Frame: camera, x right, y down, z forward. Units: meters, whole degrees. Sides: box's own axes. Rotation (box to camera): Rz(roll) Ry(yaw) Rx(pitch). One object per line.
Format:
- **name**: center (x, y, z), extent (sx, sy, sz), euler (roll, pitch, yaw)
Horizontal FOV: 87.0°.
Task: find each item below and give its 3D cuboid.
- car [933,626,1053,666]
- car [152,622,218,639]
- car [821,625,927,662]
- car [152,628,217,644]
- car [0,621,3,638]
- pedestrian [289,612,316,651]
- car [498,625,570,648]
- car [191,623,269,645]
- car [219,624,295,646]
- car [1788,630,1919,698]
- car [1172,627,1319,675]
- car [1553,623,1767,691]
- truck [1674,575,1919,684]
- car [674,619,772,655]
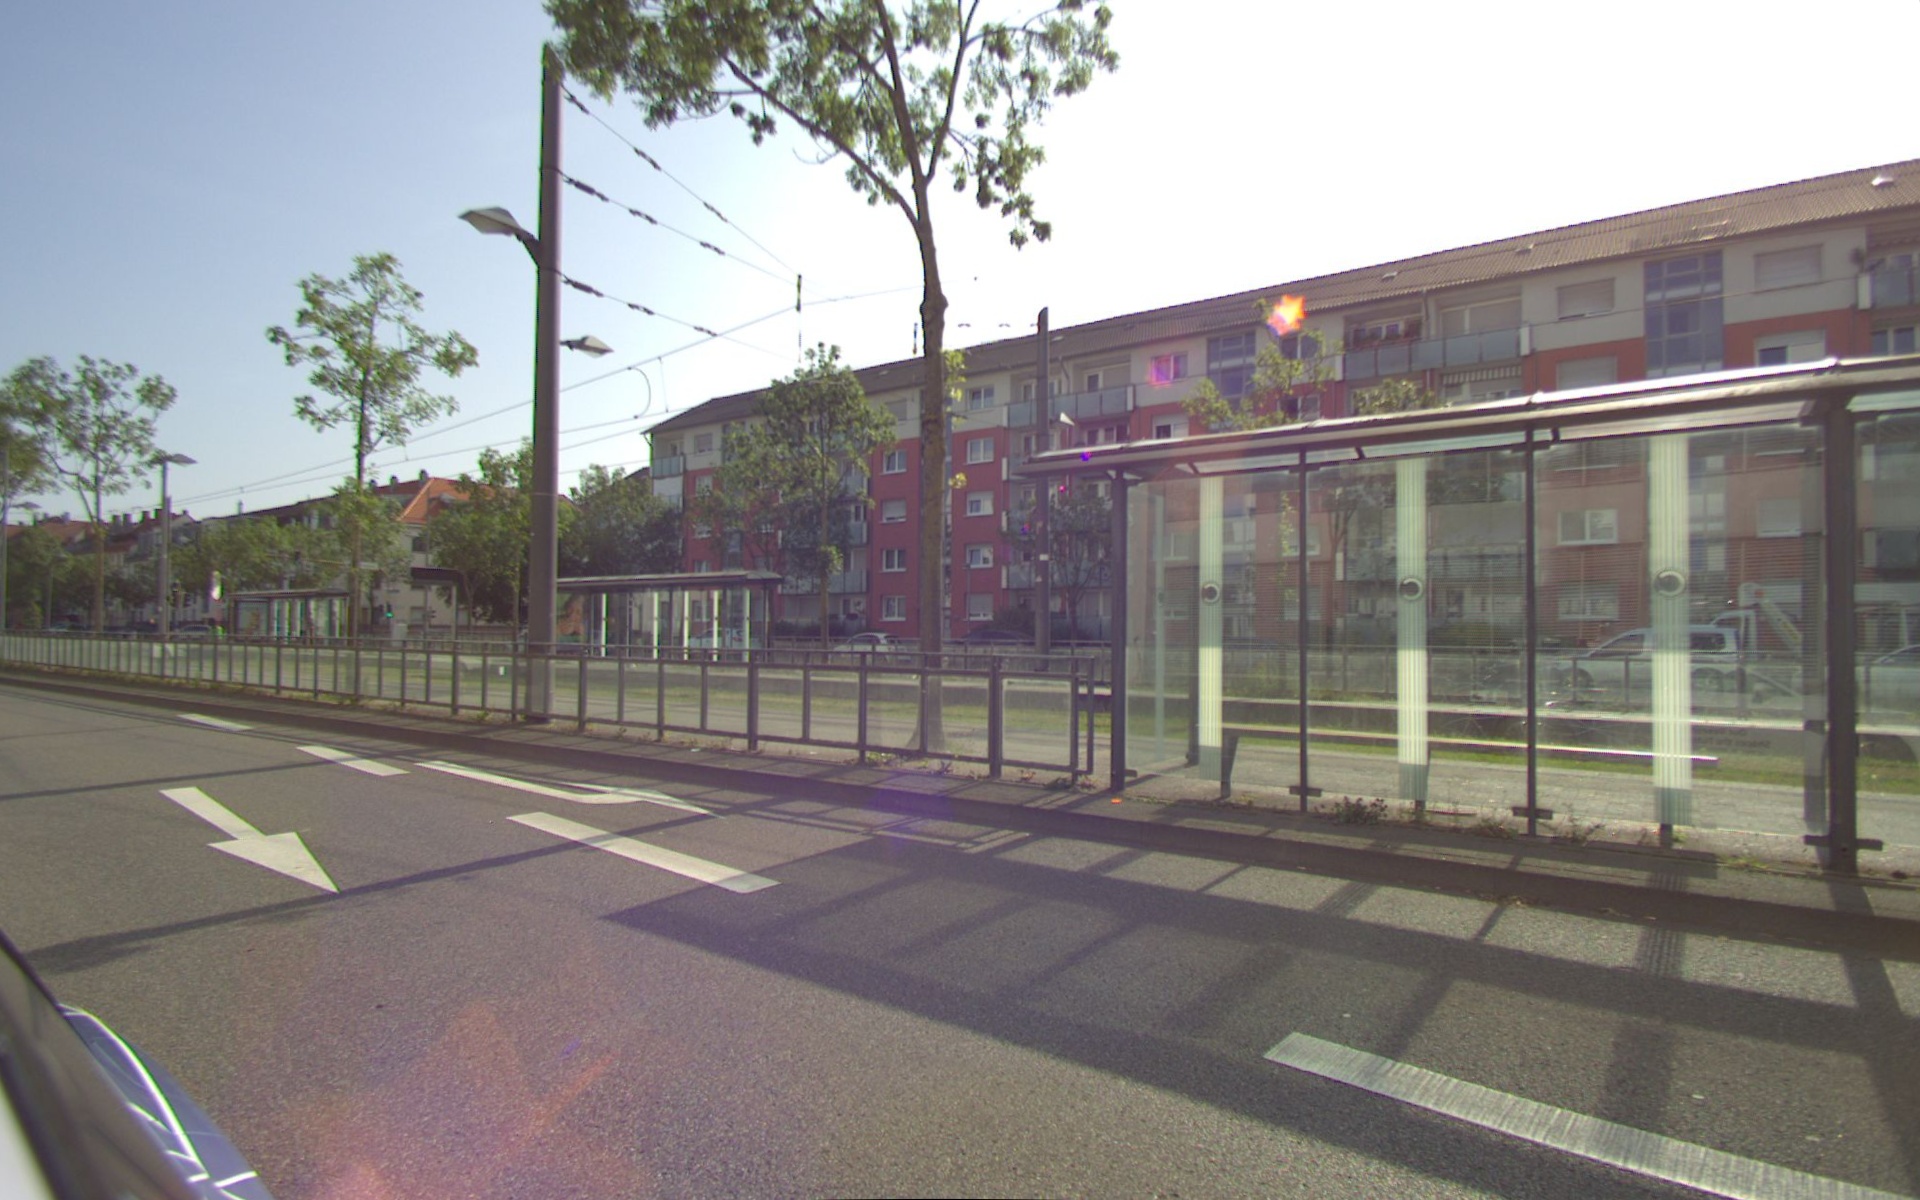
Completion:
- **car**: center (1.196, 1.668, 37.613), extent (4.061, 1.371, 1.963), euler (-1, 0, 36)
- **car**: center (-63.319, 2.473, 82.718), extent (3.930, 1.279, 1.893), euler (0, 0, -24)
- **car**: center (-3.530, 1.731, 41.428), extent (4.061, 1.371, 1.963), euler (-1, 0, 36)
- **car**: center (-64.917, 3.006, 84.759), extent (3.931, 1.268, 1.882), euler (1, -2, -21)
- **car**: center (-100.880, 3.023, 104.544), extent (4.702, 1.719, 1.976), euler (-1, -2, 35)
- **pedestrian**: center (-28.292, 1.355, 43.544), extent (0.792, 1.665, 0.666), euler (-1, -2, 32)
- **car**: center (-23.696, 2.008, 56.286), extent (4.156, 1.156, 1.817), euler (-1, 0, 36)
- **car**: center (-55.413, 2.555, 76.859), extent (4.388, 1.526, 2.006), euler (0, 0, -17)
- **car**: center (-52.040, 2.580, 75.019), extent (4.278, 1.474, 1.970), euler (0, 0, -20)
- **car**: center (21.583, 1.417, 22.559), extent (4.674, 1.389, 1.963), euler (-1, 0, 36)
- **car**: center (8.994, 1.568, 31.953), extent (4.061, 1.371, 1.963), euler (-1, 0, 36)
- **car**: center (17.501, 1.368, 25.484), extent (4.272, 1.525, 1.963), euler (-1, 0, 36)
- **truck**: center (22.484, 0.717, 25.574), extent (7.226, 2.582, 2.345), euler (-1, 0, 36)
- **car**: center (-11.011, 1.695, 47.004), extent (4.527, 1.568, 1.963), euler (-1, 0, 36)
